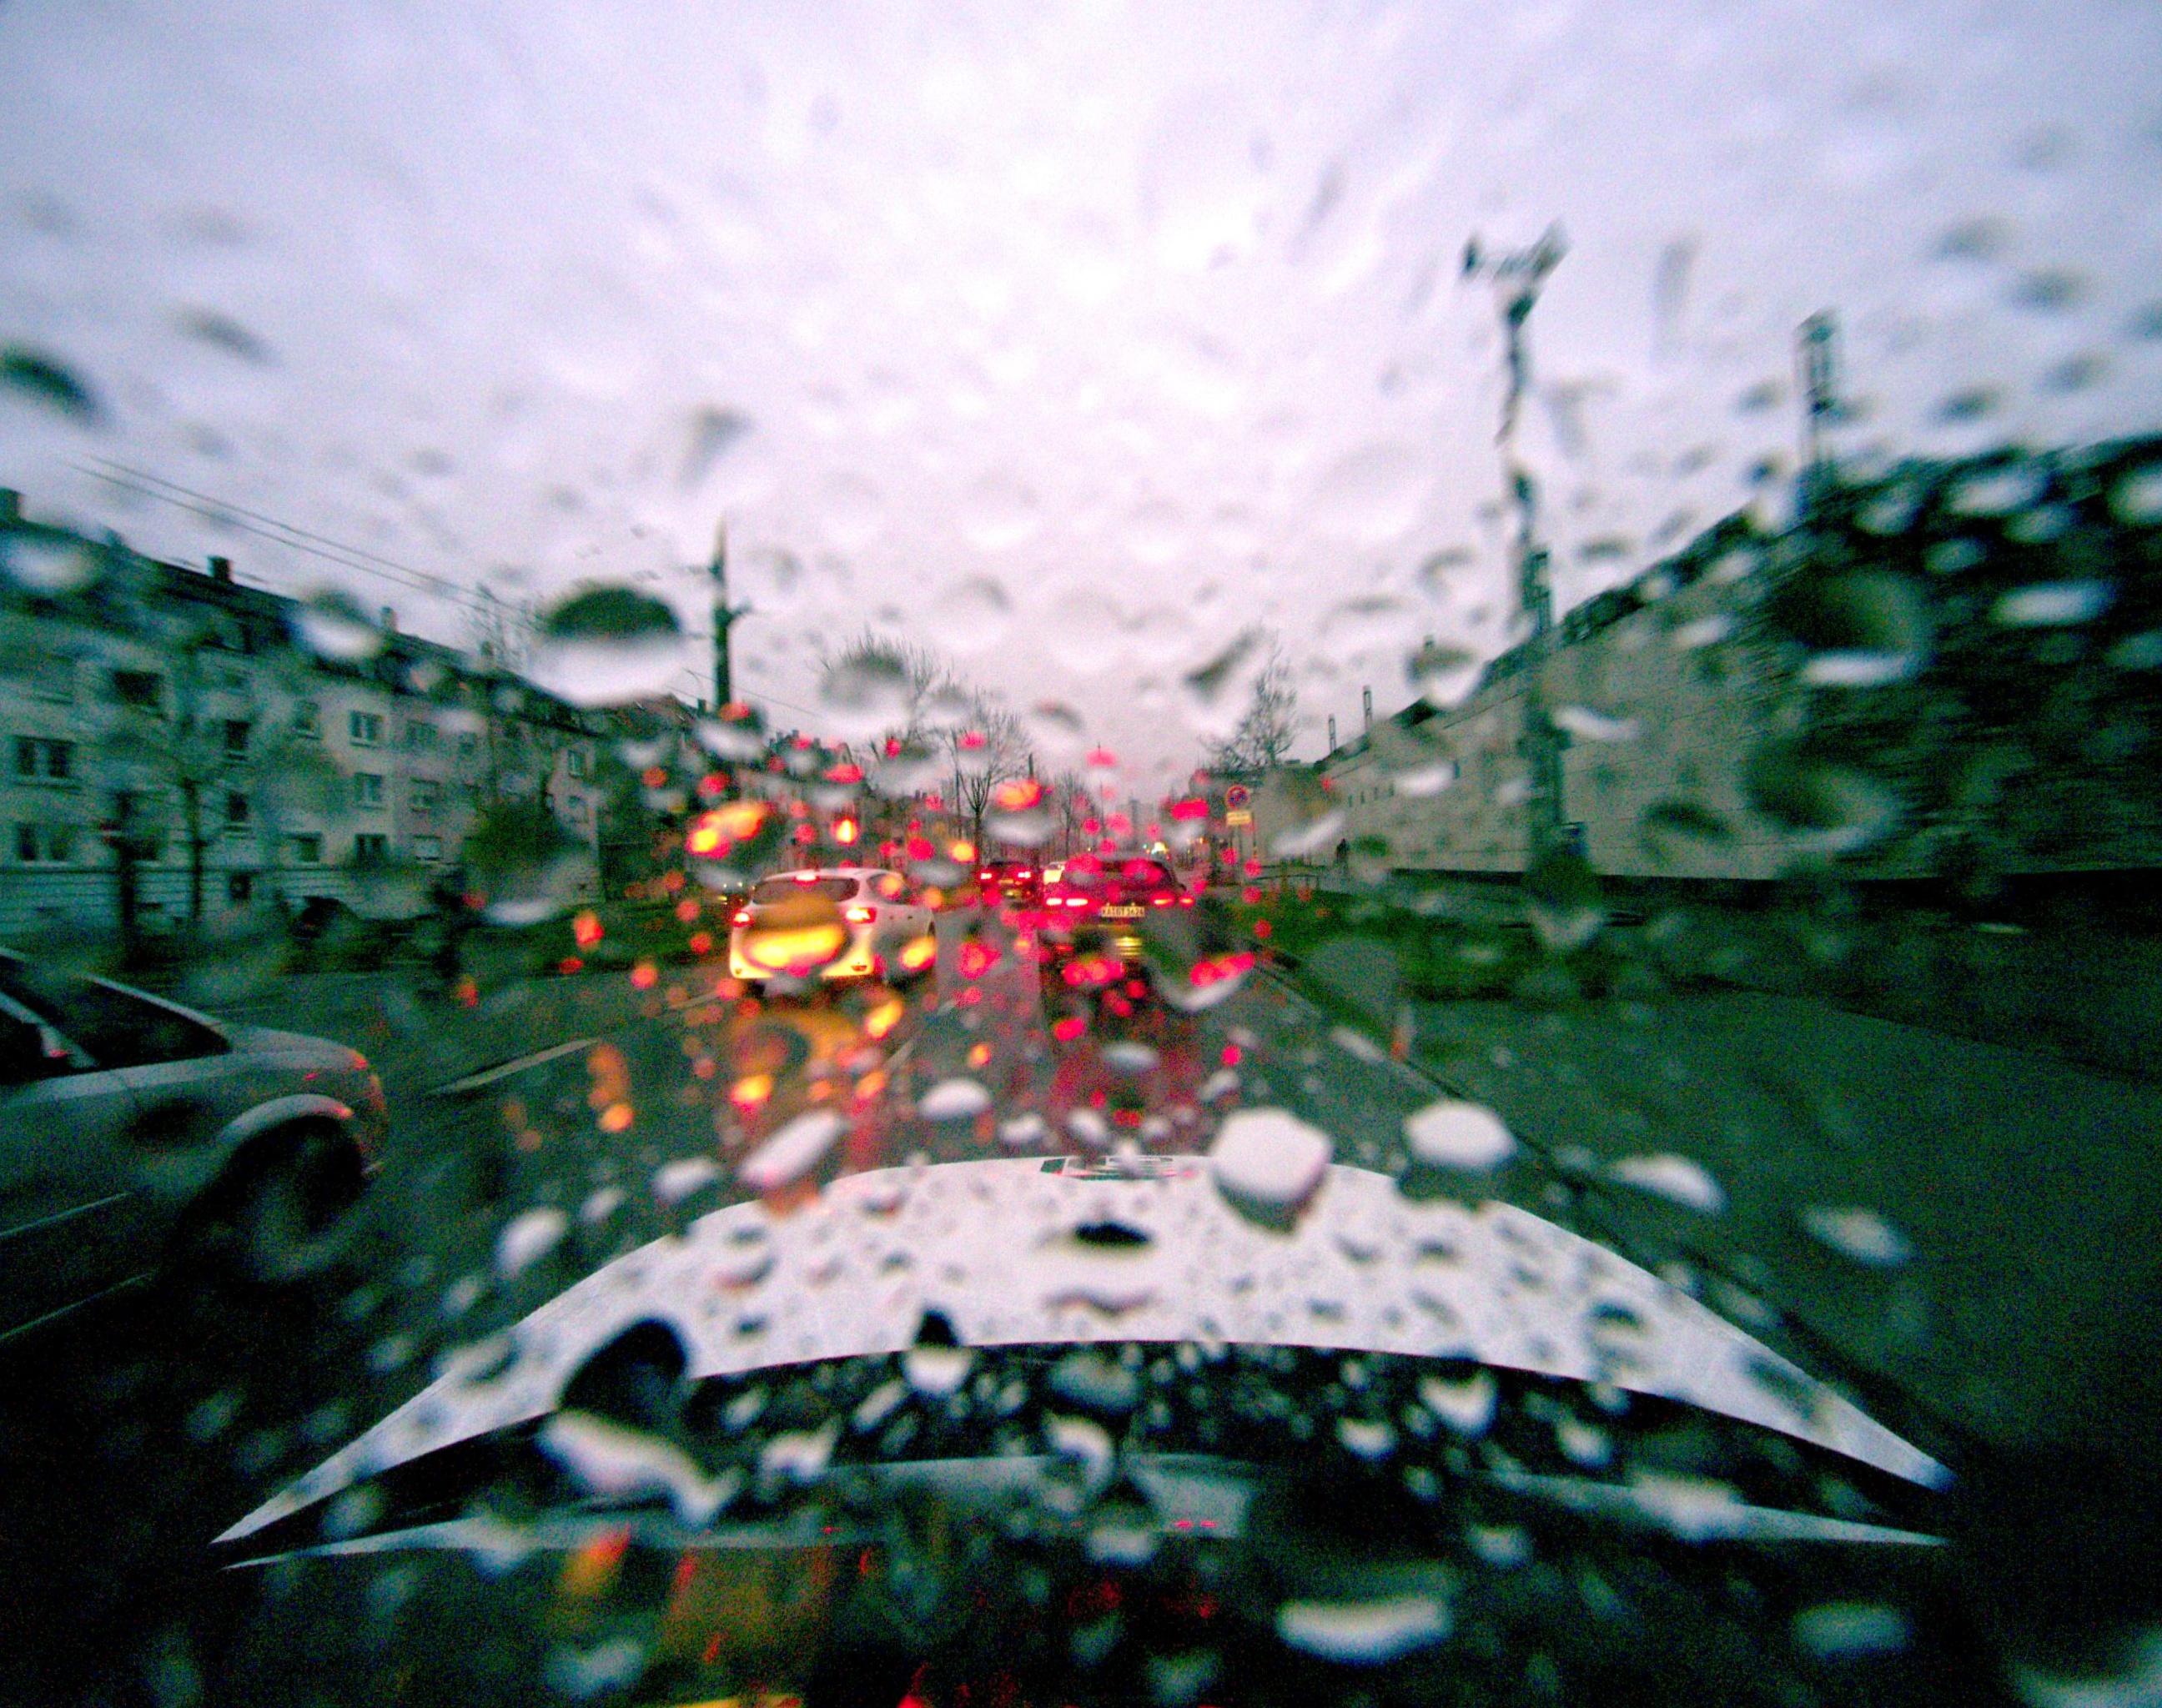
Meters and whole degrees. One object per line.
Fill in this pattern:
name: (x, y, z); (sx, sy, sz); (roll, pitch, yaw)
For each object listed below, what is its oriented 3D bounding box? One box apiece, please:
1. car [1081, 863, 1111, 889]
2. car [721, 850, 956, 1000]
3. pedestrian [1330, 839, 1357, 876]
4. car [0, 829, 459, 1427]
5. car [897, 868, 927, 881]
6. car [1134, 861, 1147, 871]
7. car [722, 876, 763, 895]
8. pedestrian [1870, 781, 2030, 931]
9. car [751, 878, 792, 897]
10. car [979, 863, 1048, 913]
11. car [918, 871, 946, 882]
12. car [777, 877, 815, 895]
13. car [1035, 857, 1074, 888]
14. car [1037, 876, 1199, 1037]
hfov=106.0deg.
car: (1.236, 1.726, 64.979); (1.983, 2.014, 4.007); (-1, -1, 6)
car: (-2.990, 0.811, 10.984); (1.664, 1.600, 4.058); (-2, -1, 4)
pedestrian: (12.085, 0.174, 37.462); (0.934, 1.618, 0.695); (-3, -1, 2)
car: (-3.805, 0.750, 1.758); (1.804, 1.600, 4.052); (-2, -1, -1)
car: (-20.822, 2.544, 100.193); (3.510, 1.354, 1.793); (-4, -1, 38)
car: (10.329, 2.051, 141.192); (1.984, 1.729, 4.005); (-3, -1, 4)
car: (-29.752, 2.766, 71.660); (1.768, 1.500, 3.561); (-3, -1, 4)
pedestrian: (9.975, 0.024, 9.397); (0.619, 1.610, 1.067); (-3, -1, 1)
car: (-25.829, 2.766, 68.039); (1.768, 1.354, 3.561); (-3, -1, 4)
car: (-2.309, 1.146, 28.678); (1.664, 1.600, 4.059); (-2, -1, 6)
car: (-20.106, 3.036, 110.132); (3.510, 1.354, 1.793); (-4, -1, 38)
car: (-25.338, 2.821, 72.530); (1.768, 1.354, 3.561); (-3, -1, 4)
car: (-1.455, 1.015, 45.958); (1.664, 1.600, 4.059); (-2, -1, 6)
car: (0.578, 1.139, 10.607); (1.664, 1.600, 4.059); (-2, -1, 6)
